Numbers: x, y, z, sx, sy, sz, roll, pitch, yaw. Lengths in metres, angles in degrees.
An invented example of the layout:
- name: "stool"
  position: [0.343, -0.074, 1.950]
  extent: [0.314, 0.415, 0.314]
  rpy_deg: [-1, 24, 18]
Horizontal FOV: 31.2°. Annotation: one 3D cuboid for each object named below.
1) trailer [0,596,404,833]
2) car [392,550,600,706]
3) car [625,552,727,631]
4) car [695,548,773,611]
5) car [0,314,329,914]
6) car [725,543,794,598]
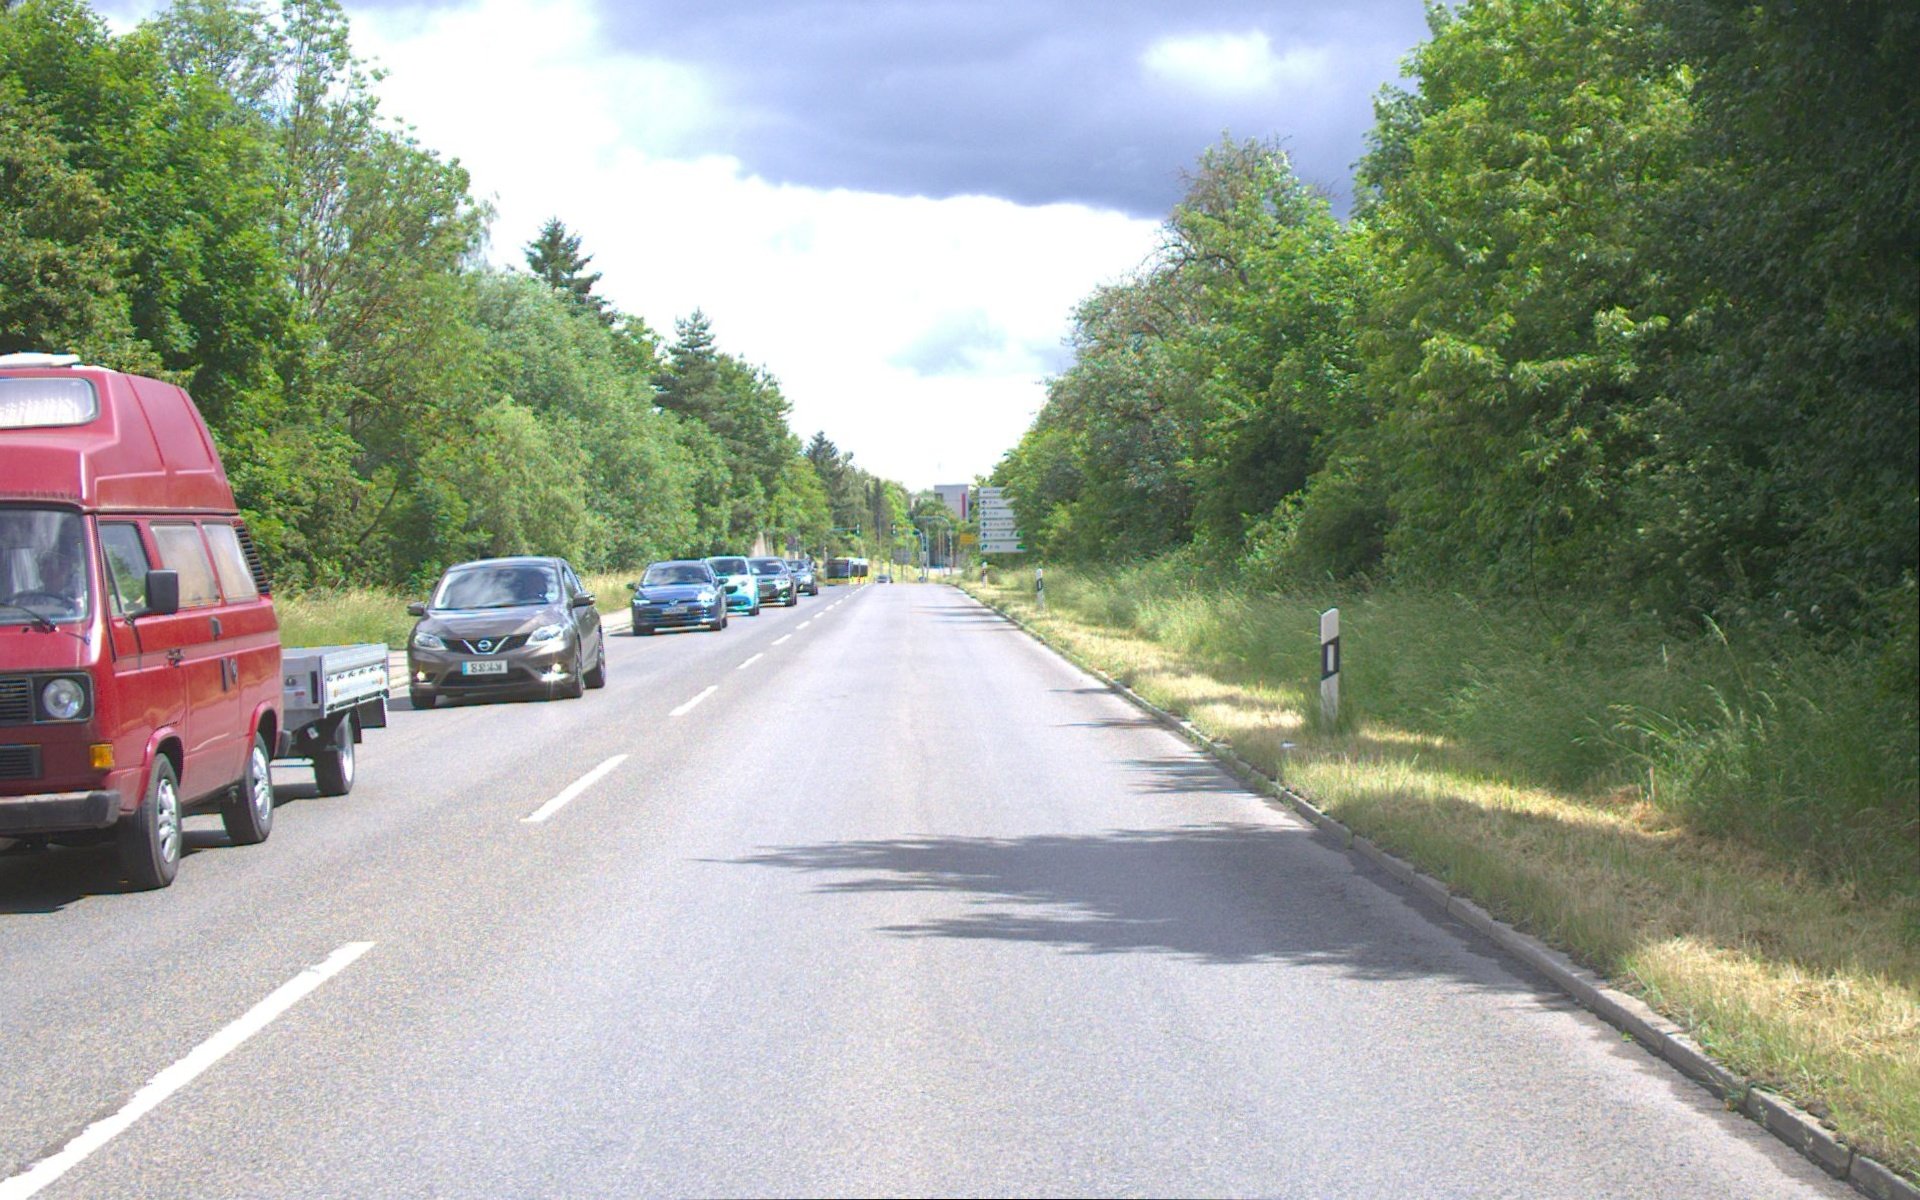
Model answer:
- name: "trailer"
  position: [-4.761, 0.655, 21.657]
  extent: [1.891, 1.196, 3.917]
  rpy_deg: [-3, 1, -1]
- name: "car"
  position: [-4.921, 0.257, 36.913]
  extent: [1.716, 1.466, 4.000]
  rpy_deg: [-3, 1, -2]
- name: "car"
  position: [-5.726, -0.206, 69.732]
  extent: [1.784, 1.441, 4.453]
  rpy_deg: [-3, 1, -2]
- name: "car"
  position: [-5.638, -0.530, 86.126]
  extent: [1.784, 1.441, 2.967]
  rpy_deg: [-3, 1, -2]
- name: "car"
  position: [-4.581, 0.058, 17.078]
  extent: [1.969, 2.541, 4.725]
  rpy_deg: [-3, 1, -1]
- name: "car"
  position: [-5.952, -0.903, 102.551]
  extent: [1.884, 1.486, 4.718]
  rpy_deg: [-3, 1, -2]
